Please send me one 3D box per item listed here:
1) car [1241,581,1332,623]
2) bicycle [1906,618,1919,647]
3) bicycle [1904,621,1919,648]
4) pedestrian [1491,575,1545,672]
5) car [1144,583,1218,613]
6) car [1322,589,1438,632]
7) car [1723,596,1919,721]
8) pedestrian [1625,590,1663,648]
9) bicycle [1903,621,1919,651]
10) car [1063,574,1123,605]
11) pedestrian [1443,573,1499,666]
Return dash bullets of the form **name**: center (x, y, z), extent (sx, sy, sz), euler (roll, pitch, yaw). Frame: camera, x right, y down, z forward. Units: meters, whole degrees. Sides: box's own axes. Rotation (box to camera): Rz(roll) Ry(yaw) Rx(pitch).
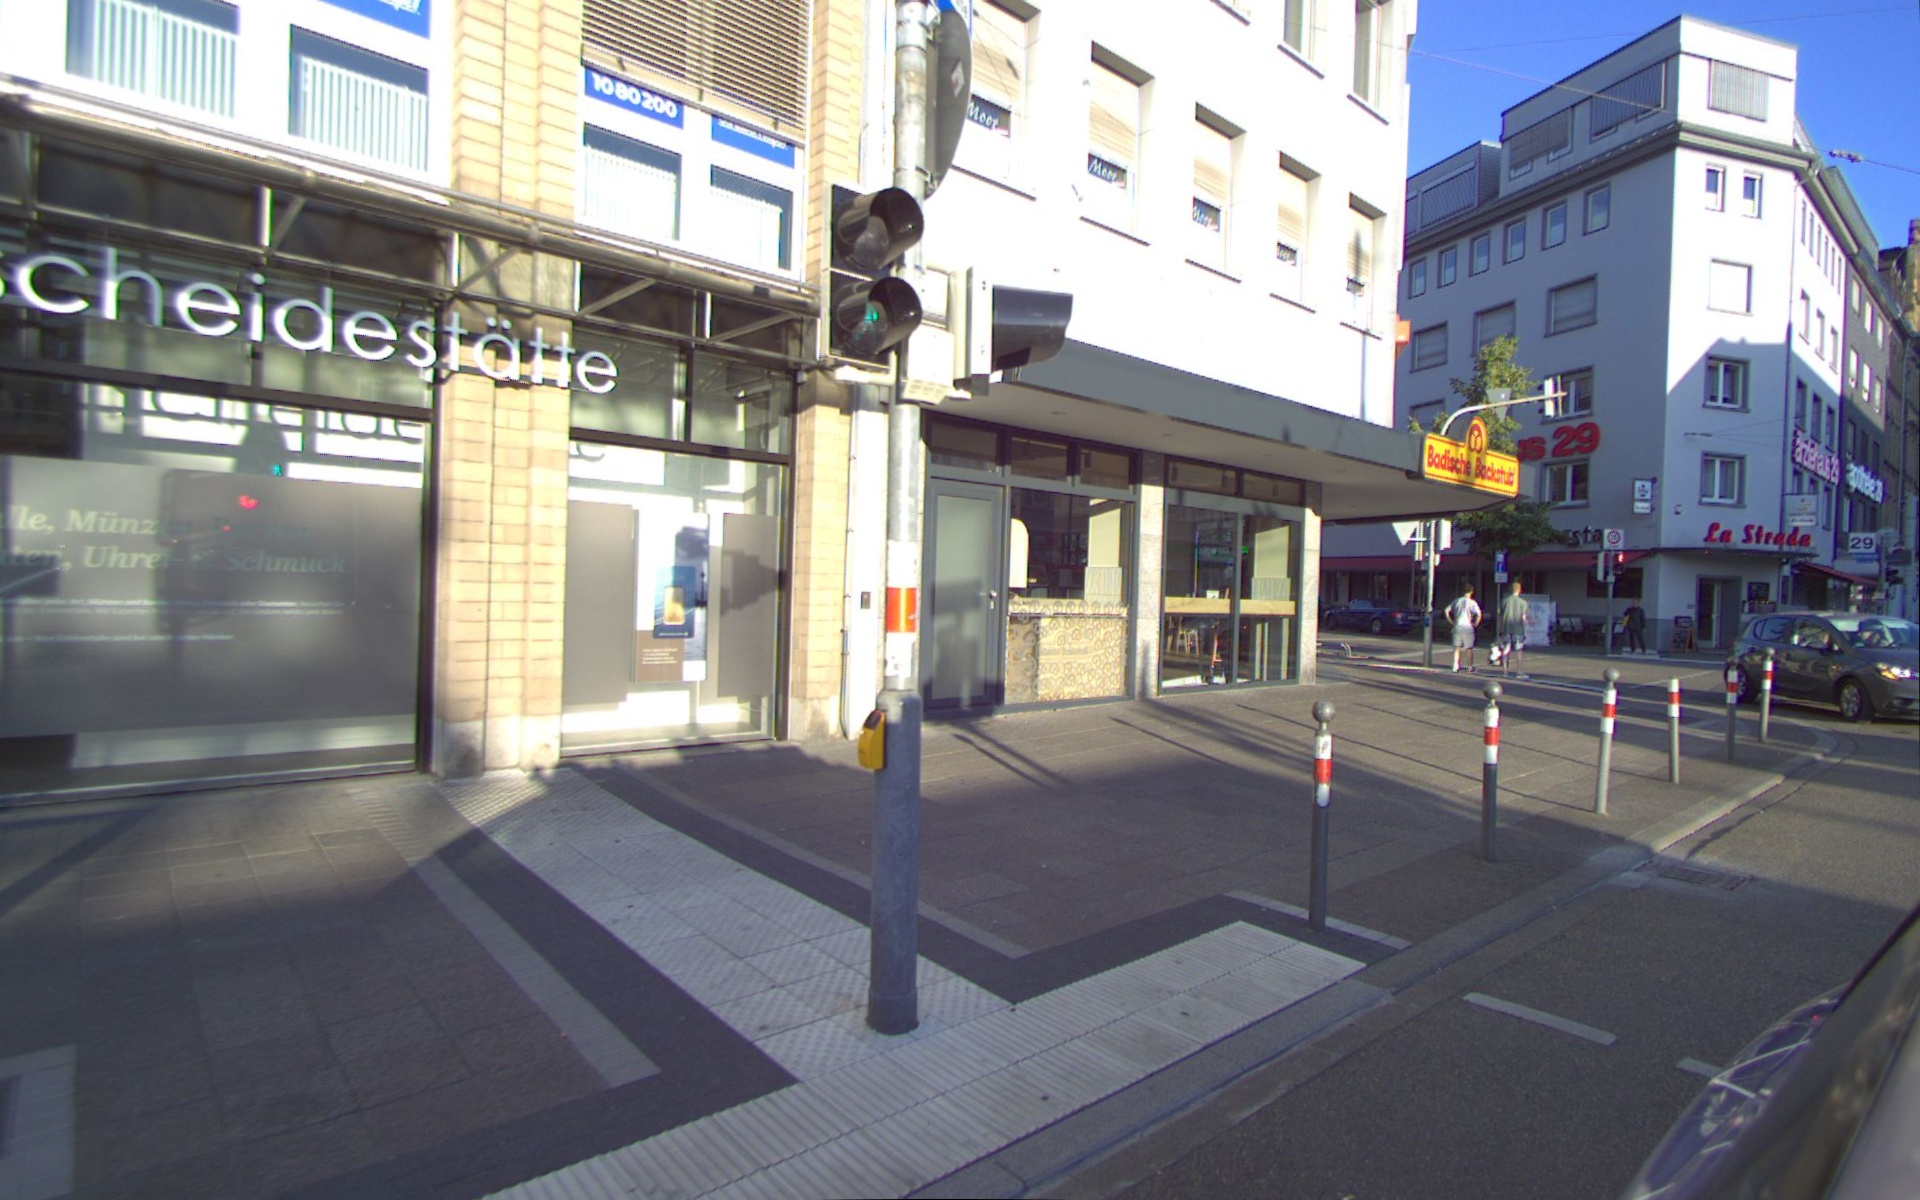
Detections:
- **car**: center (14.336, 0.033, 44.663), extent (1.684, 1.684, 4.010), euler (0, 2, -20)
- **bicycle**: center (37.339, 1.296, 38.609), extent (1.757, 1.083, 0.437), euler (4, 4, 43)
- **bicycle**: center (36.441, 1.332, 37.734), extent (1.757, 0.960, 0.437), euler (4, 4, 43)
- **pedestrian**: center (10.659, 0.425, 19.330), extent (0.747, 1.795, 0.578), euler (2, 1, 42)
- **car**: center (11.659, -0.132, 53.614), extent (1.767, 1.410, 4.429), euler (1, 2, -18)
- **car**: center (16.030, 0.381, 38.873), extent (1.619, 1.370, 4.322), euler (2, 2, -18)
- **car**: center (12.799, 0.730, 14.251), extent (1.561, 1.471, 3.834), euler (2, 1, 8)
- **pedestrian**: center (20.129, 0.549, 29.778), extent (0.577, 1.676, 0.798), euler (1, 1, -44)
- **bicycle**: center (35.411, 1.348, 36.625), extent (1.824, 1.044, 0.437), euler (5, 2, 43)
- **car**: center (8.677, -0.714, 66.278), extent (1.932, 1.908, 4.958), euler (1, 1, -18)
- **pedestrian**: center (10.167, 0.378, 20.154), extent (0.628, 1.795, 0.749), euler (1, 1, -38)
